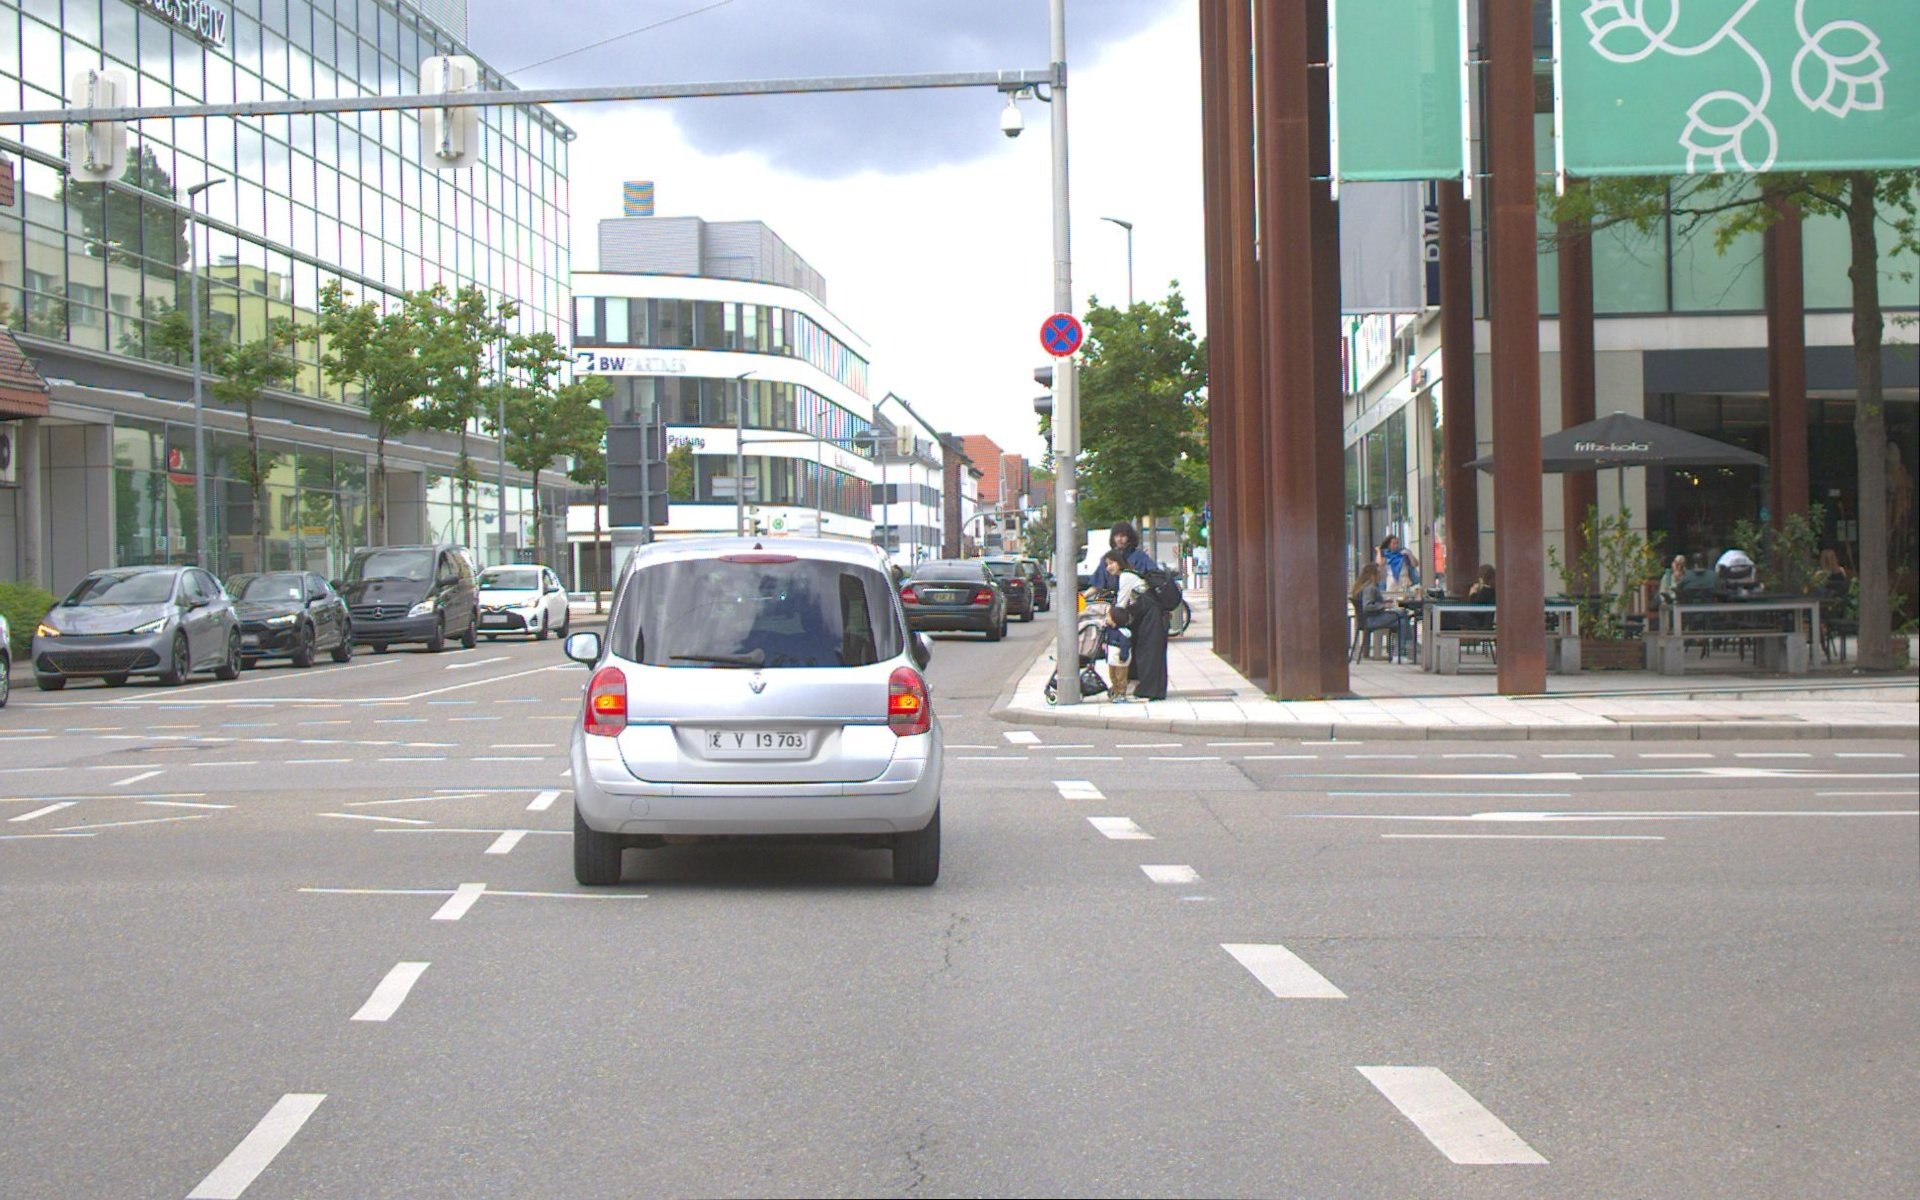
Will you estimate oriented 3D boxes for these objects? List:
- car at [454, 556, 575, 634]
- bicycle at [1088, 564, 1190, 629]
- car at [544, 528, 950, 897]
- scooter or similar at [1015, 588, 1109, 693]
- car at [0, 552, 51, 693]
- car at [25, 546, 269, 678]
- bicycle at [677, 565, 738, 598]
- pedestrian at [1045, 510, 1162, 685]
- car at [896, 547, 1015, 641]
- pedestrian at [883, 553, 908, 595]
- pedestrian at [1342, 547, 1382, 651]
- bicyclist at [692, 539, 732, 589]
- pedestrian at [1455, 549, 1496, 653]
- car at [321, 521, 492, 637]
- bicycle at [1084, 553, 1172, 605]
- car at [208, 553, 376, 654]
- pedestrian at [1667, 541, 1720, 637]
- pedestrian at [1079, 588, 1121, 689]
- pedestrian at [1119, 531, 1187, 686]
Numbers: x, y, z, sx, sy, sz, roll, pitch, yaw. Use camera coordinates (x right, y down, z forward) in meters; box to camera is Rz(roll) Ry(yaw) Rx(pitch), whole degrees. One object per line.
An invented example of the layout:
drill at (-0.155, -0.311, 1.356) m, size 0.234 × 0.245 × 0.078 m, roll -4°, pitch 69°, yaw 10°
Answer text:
car at (-8.845, -0.117, 68.593) m, size 1.660 × 1.460 × 4.000 m, roll -2°, pitch 1°, yaw 3°
bicycle at (2.832, -0.059, 54.224) m, size 1.561 × 0.989 × 0.752 m, roll -1°, pitch 1°, yaw 6°
car at (-0.922, 0.452, 16.606) m, size 1.669 × 1.549 × 3.642 m, roll 1°, pitch 1°, yaw 1°
scooter or similar at (0.956, 0.371, 32.224) m, size 0.634 × 0.958 × 0.619 m, roll 0°, pitch 1°, yaw 36°
car at (-10.824, 0.315, 35.075) m, size 1.635 × 1.413 × 4.199 m, roll -3°, pitch 2°, yaw 5°
car at (-10.372, 0.113, 44.188) m, size 1.759 × 1.512 × 4.386 m, roll -2°, pitch 1°, yaw 4°
bicycle at (-8.399, -0.623, 114.314) m, size 1.006 × 1.015 × 3.131 m, roll 1°, pitch 0°, yaw -24°
pedestrian at (1.365, -0.033, 32.718) m, size 0.872 × 1.641 × 0.679 m, roll 0°, pitch 1°, yaw 37°
car at (-0.048, -0.133, 59.820) m, size 1.670 × 1.549 × 3.641 m, roll 1°, pitch 1°, yaw 6°
pedestrian at (-2.843, -1.141, 151.939) m, size 0.961 × 1.827 × 1.250 m, roll -1°, pitch 1°, yaw 3°
pedestrian at (4.745, -0.019, 40.633) m, size 0.448 × 1.216 × 0.606 m, roll 0°, pitch 1°, yaw 5°
bicyclist at (-8.225, -1.194, 113.952) m, size 1.006 × 1.655 × 0.933 m, roll 1°, pitch 0°, yaw -24°
pedestrian at (6.065, 0.008, 40.487) m, size 0.448 × 1.216 × 0.606 m, roll 0°, pitch 1°, yaw 7°
car at (-9.723, -0.391, 60.751) m, size 1.865 × 1.903 × 5.113 m, roll -2°, pitch 1°, yaw 3°
bicycle at (3.620, -0.457, 74.169) m, size 1.825 × 1.071 × 0.752 m, roll -2°, pitch 1°, yaw 2°
car at (-9.982, 0.018, 51.617) m, size 1.702 × 1.438 × 4.000 m, roll -1°, pitch 1°, yaw 1°
pedestrian at (9.513, -0.148, 44.600) m, size 0.515 × 1.204 × 0.795 m, roll -1°, pitch 2°, yaw 1°
pedestrian at (1.298, 0.356, 31.844) m, size 0.362 × 0.921 × 0.454 m, roll 0°, pitch 1°, yaw 5°
pedestrian at (1.785, 0.075, 31.801) m, size 0.601 × 1.415 × 0.582 m, roll 0°, pitch 1°, yaw 5°
